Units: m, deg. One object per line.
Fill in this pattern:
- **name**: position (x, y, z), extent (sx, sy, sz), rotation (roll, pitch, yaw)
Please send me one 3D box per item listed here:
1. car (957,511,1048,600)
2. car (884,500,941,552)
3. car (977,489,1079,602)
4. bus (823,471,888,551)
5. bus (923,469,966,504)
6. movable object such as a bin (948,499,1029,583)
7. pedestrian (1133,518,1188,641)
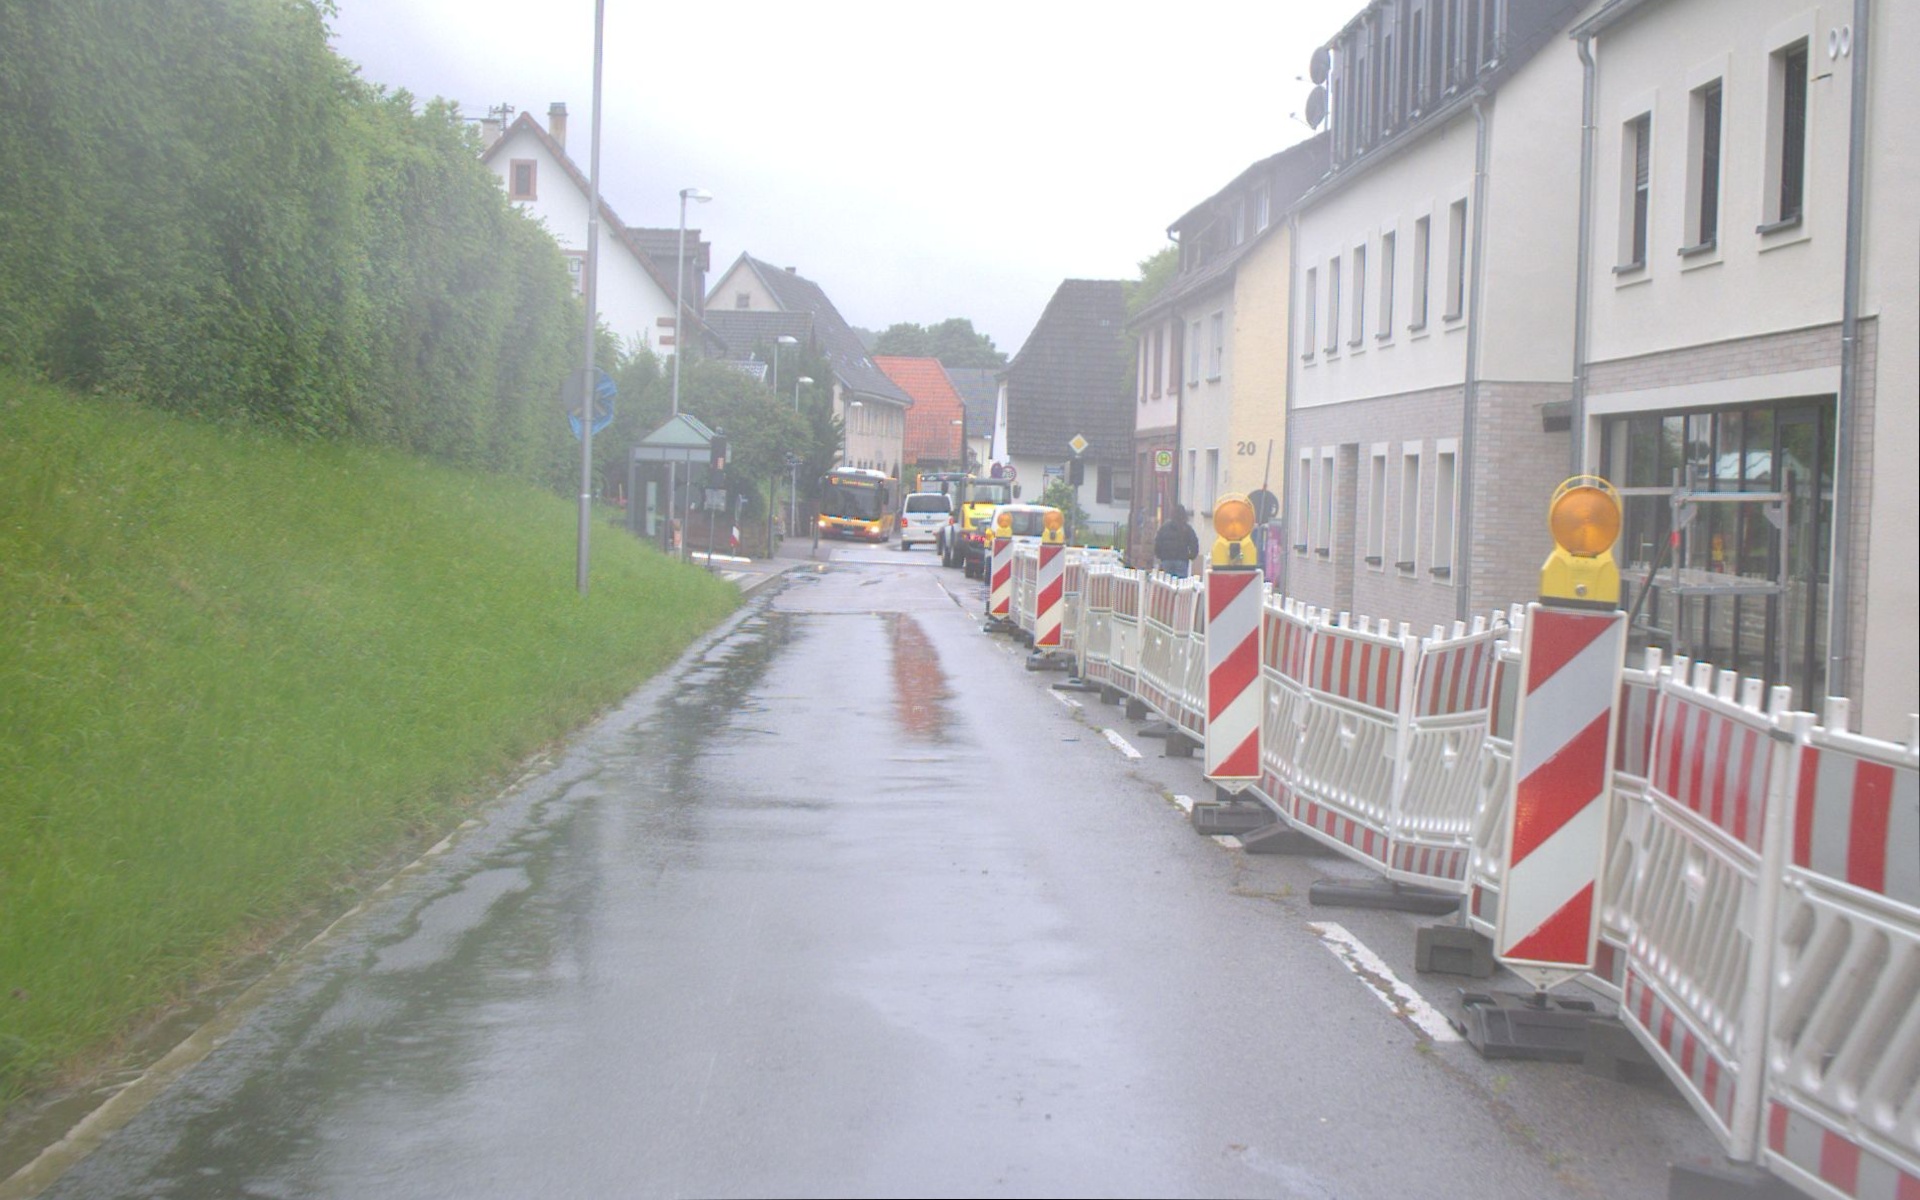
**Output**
- **car**: position (1.007, -1.092, 83.679), extent (1.993, 2.007, 4.000), rotation (3, 1, -1)
- **car**: position (-1.644, -2.524, 117.411), extent (1.818, 1.636, 4.096), rotation (3, 1, -1)
- **car**: position (1.499, -1.238, 77.668), extent (1.993, 2.367, 4.096), rotation (3, 1, -1)
- **bus**: position (-4.282, -3.660, 141.899), extent (2.241, 3.092, 7.031), rotation (3, 1, 0)
- **bus**: position (-0.677, -5.104, 154.675), extent (1.794, 1.405, 4.000), rotation (3, 1, 1)
- **movable object such as a bin**: position (0.763, -1.633, 95.152), extent (1.993, 2.165, 4.001), rotation (3, 1, -2)
- **pedestrian**: position (2.916, -0.304, 50.104), extent (0.665, 1.749, 0.812), rotation (3, 1, 0)
